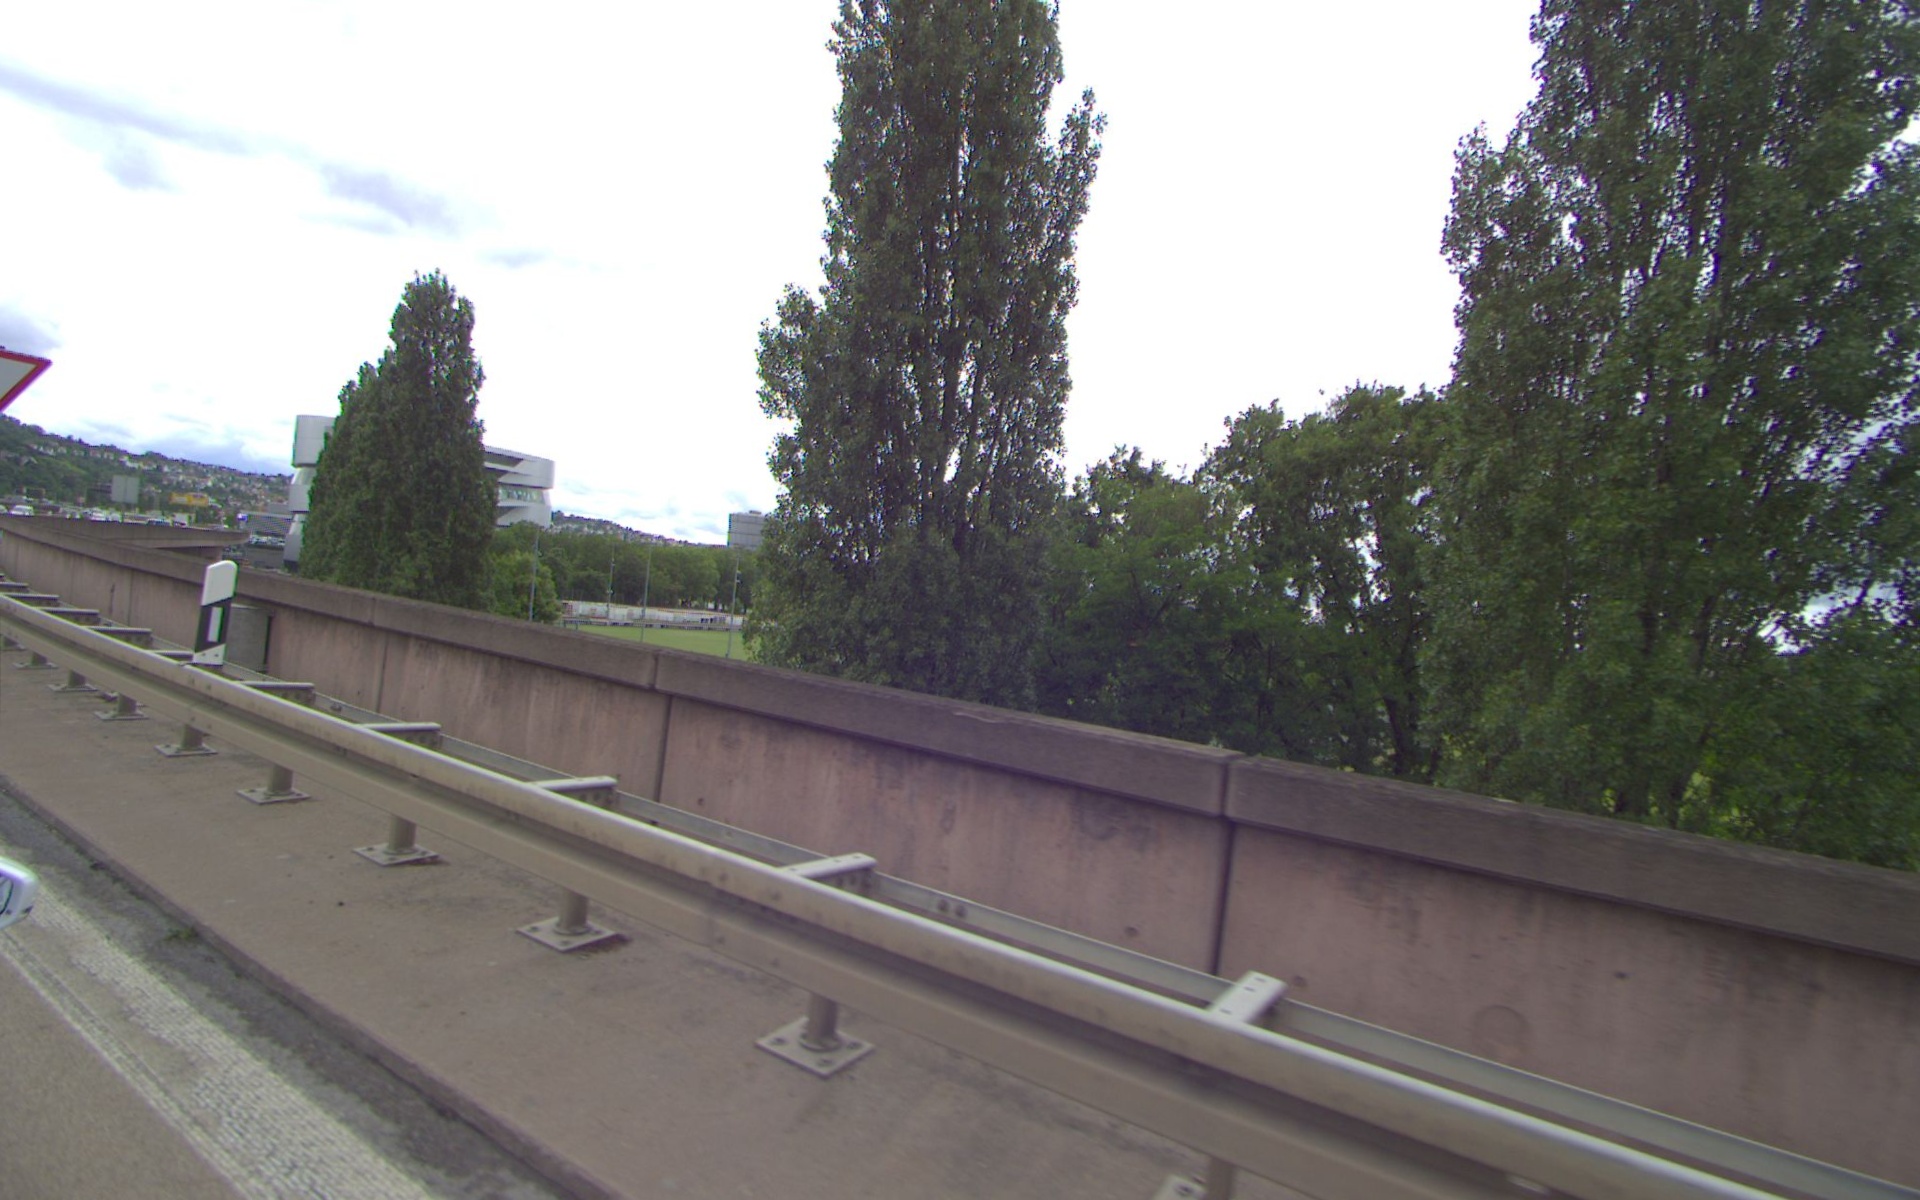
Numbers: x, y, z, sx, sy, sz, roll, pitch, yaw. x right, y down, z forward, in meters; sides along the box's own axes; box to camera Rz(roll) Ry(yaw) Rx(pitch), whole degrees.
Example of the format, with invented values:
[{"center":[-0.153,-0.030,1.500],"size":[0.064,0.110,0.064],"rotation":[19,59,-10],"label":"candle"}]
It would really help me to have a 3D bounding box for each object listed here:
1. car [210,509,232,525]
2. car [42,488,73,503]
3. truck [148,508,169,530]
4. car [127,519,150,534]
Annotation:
[{"center":[-89.631,-10.096,122.114],"size":[1.681,1.570,3.615],"rotation":[5,-1,-30],"label":"car"},{"center":[-98.940,-11.470,110.343],"size":[1.627,1.255,4.238],"rotation":[0,11,-31],"label":"car"},{"center":[-157.865,-16.009,198.115],"size":[2.378,3.943,5.891],"rotation":[5,1,-33],"label":"truck"},{"center":[-111.100,-9.912,136.071],"size":[1.983,1.556,3.962],"rotation":[8,-3,-36],"label":"car"}]
